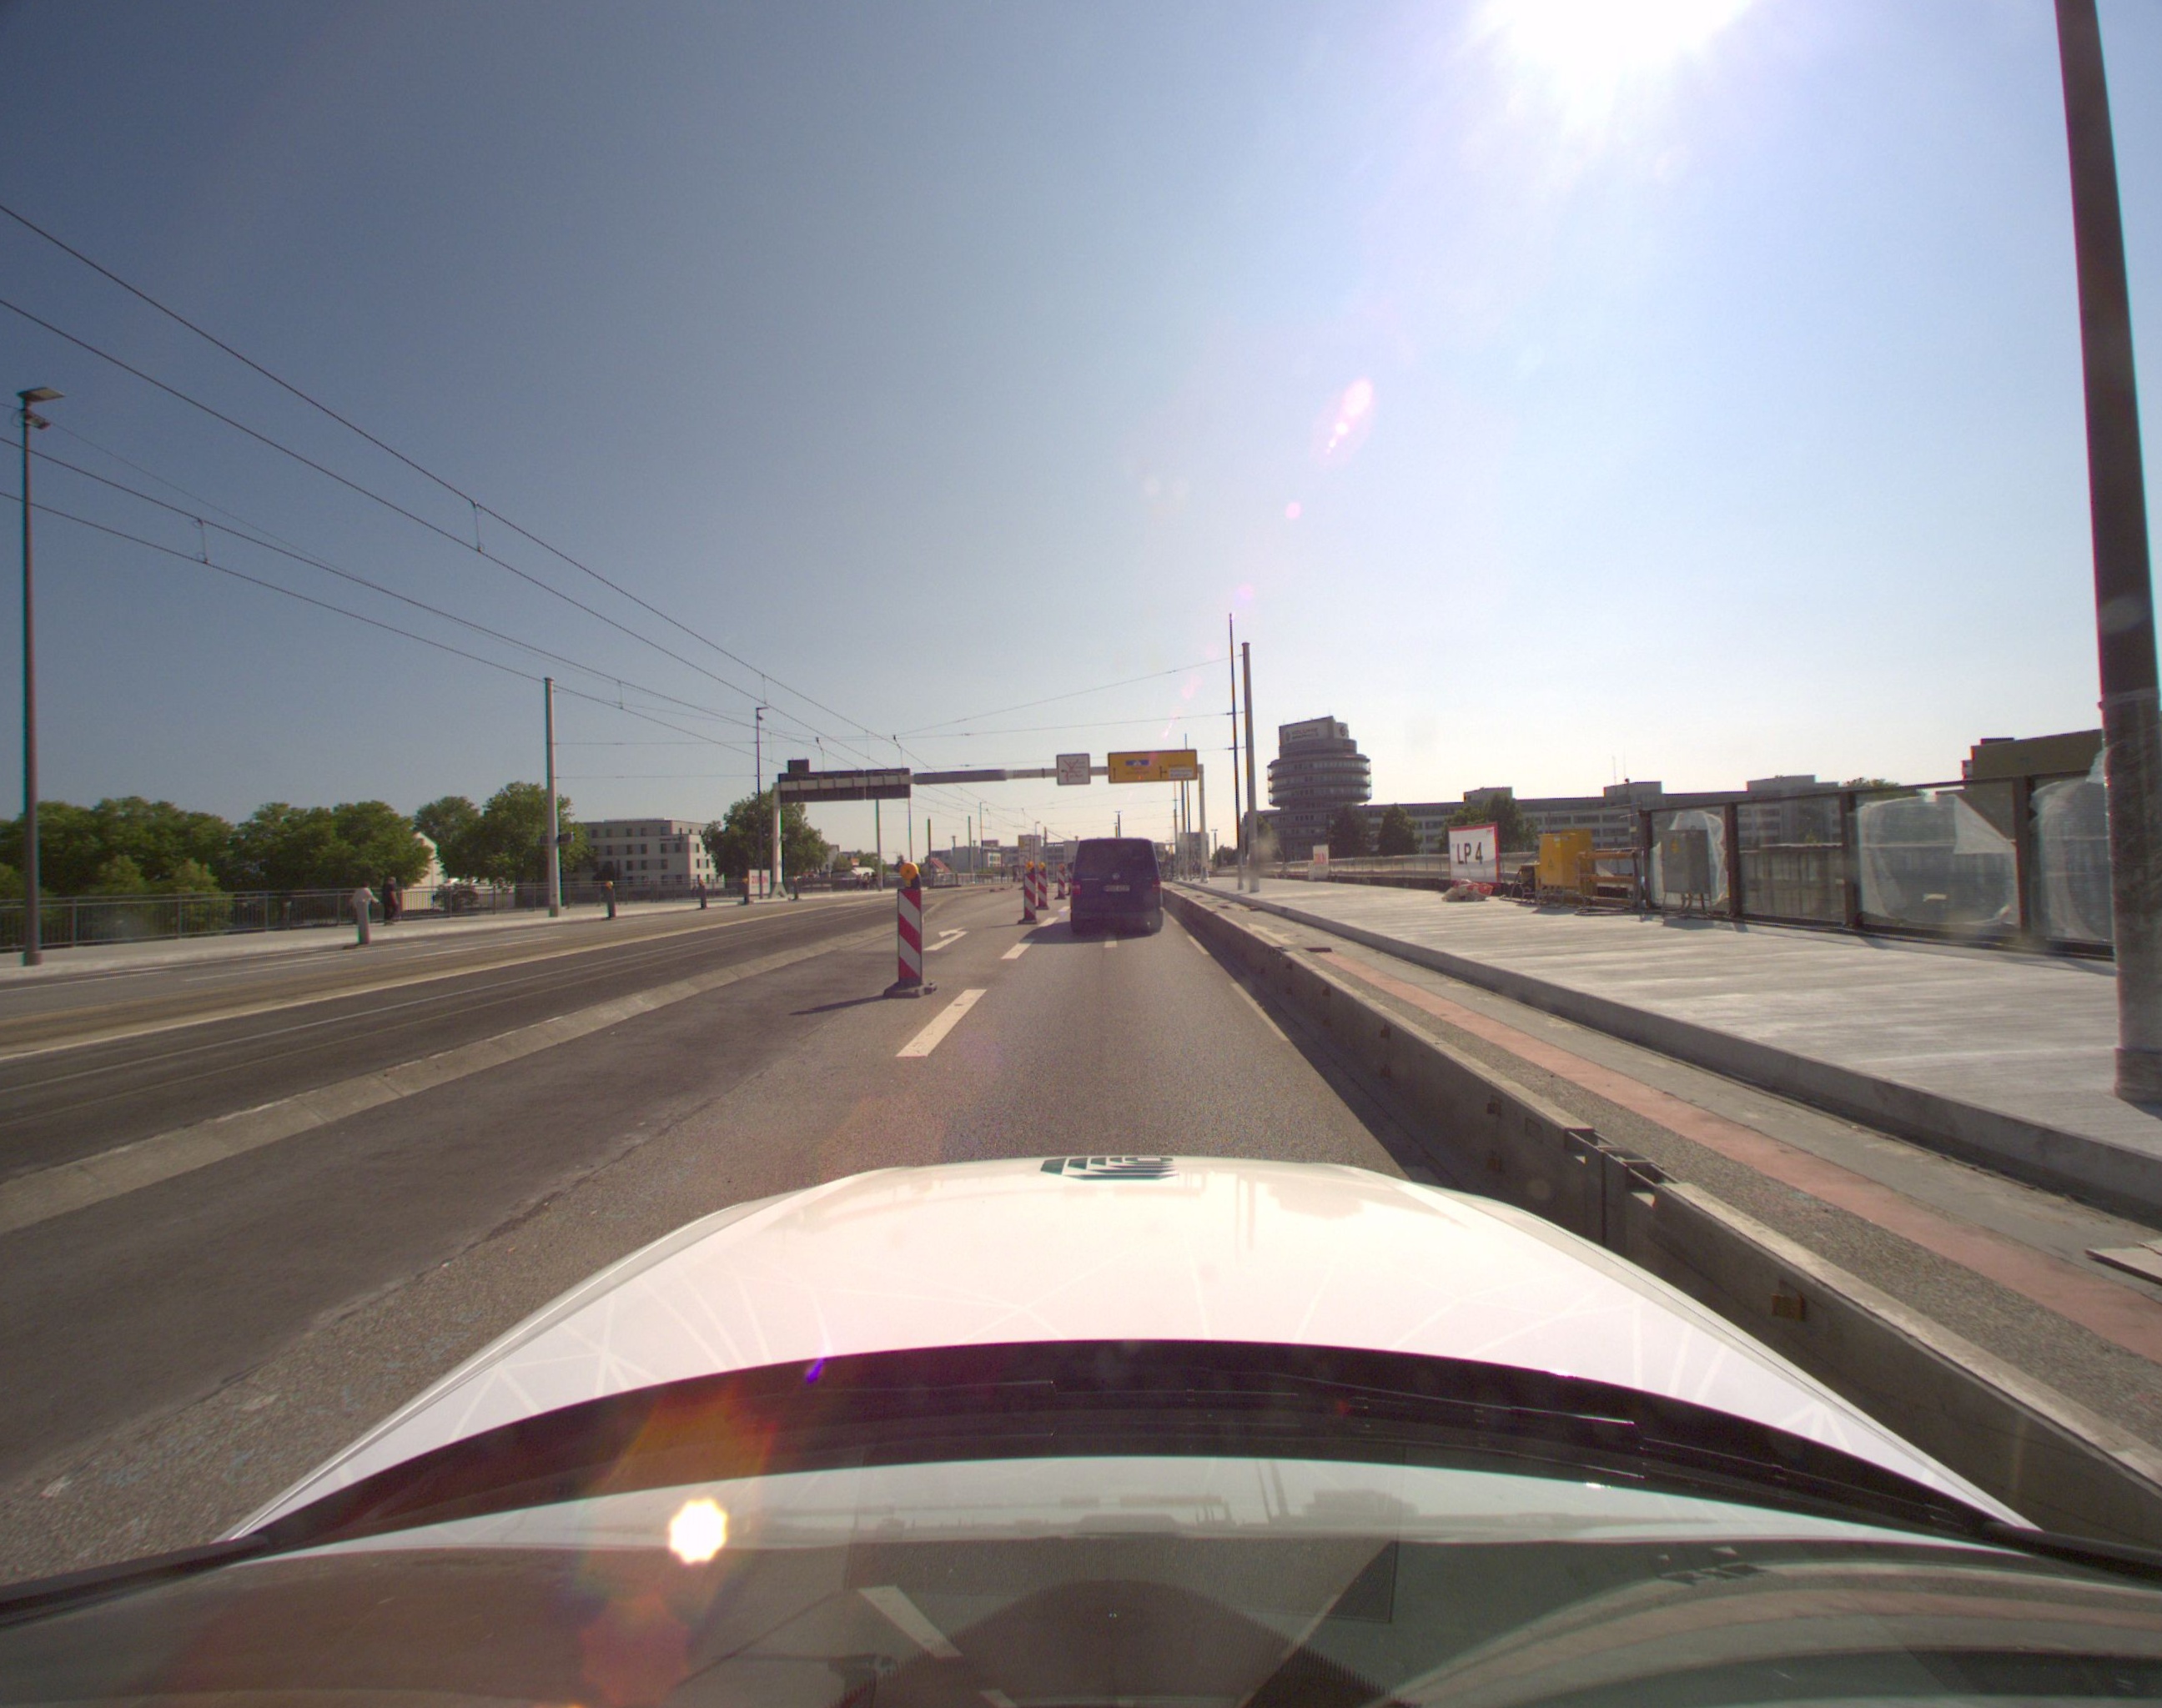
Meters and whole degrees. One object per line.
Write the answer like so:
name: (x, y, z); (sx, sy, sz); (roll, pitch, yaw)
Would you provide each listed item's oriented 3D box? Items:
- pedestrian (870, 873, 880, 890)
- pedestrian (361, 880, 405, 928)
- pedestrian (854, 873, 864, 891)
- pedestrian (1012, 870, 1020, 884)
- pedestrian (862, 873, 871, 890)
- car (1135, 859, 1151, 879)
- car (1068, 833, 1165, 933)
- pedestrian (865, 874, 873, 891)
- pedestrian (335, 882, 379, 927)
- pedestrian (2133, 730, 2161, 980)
pedestrian: (-20.968, 2.781, 83.036); (0.749, 1.687, 0.733); (-2, -1, 5)
pedestrian: (-24.425, 1.729, 28.521); (0.741, 1.642, 0.895); (0, -1, 2)
pedestrian: (-21.933, 2.769, 80.452); (0.594, 1.687, 0.819); (-2, -1, 5)
pedestrian: (-7.950, 2.802, 99.708); (0.655, 1.654, 0.742); (-2, -2, 16)
pedestrian: (-21.312, 2.743, 80.905); (0.483, 1.687, 0.809); (-2, -1, 5)
car: (9.372, 2.306, 123.851); (2.329, 2.887, 5.975); (-1, -1, 3)
car: (0.759, 0.588, 17.829); (1.881, 1.934, 4.001); (0, -1, 2)
pedestrian: (-21.726, 2.905, 83.601); (0.501, 1.687, 0.774); (-2, -1, 5)
pedestrian: (-25.415, 1.759, 28.610); (0.717, 1.544, 0.889); (0, -1, 2)
pedestrian: (8.829, -0.011, 5.992); (0.728, 1.965, 1.017); (-3, -1, 2)
